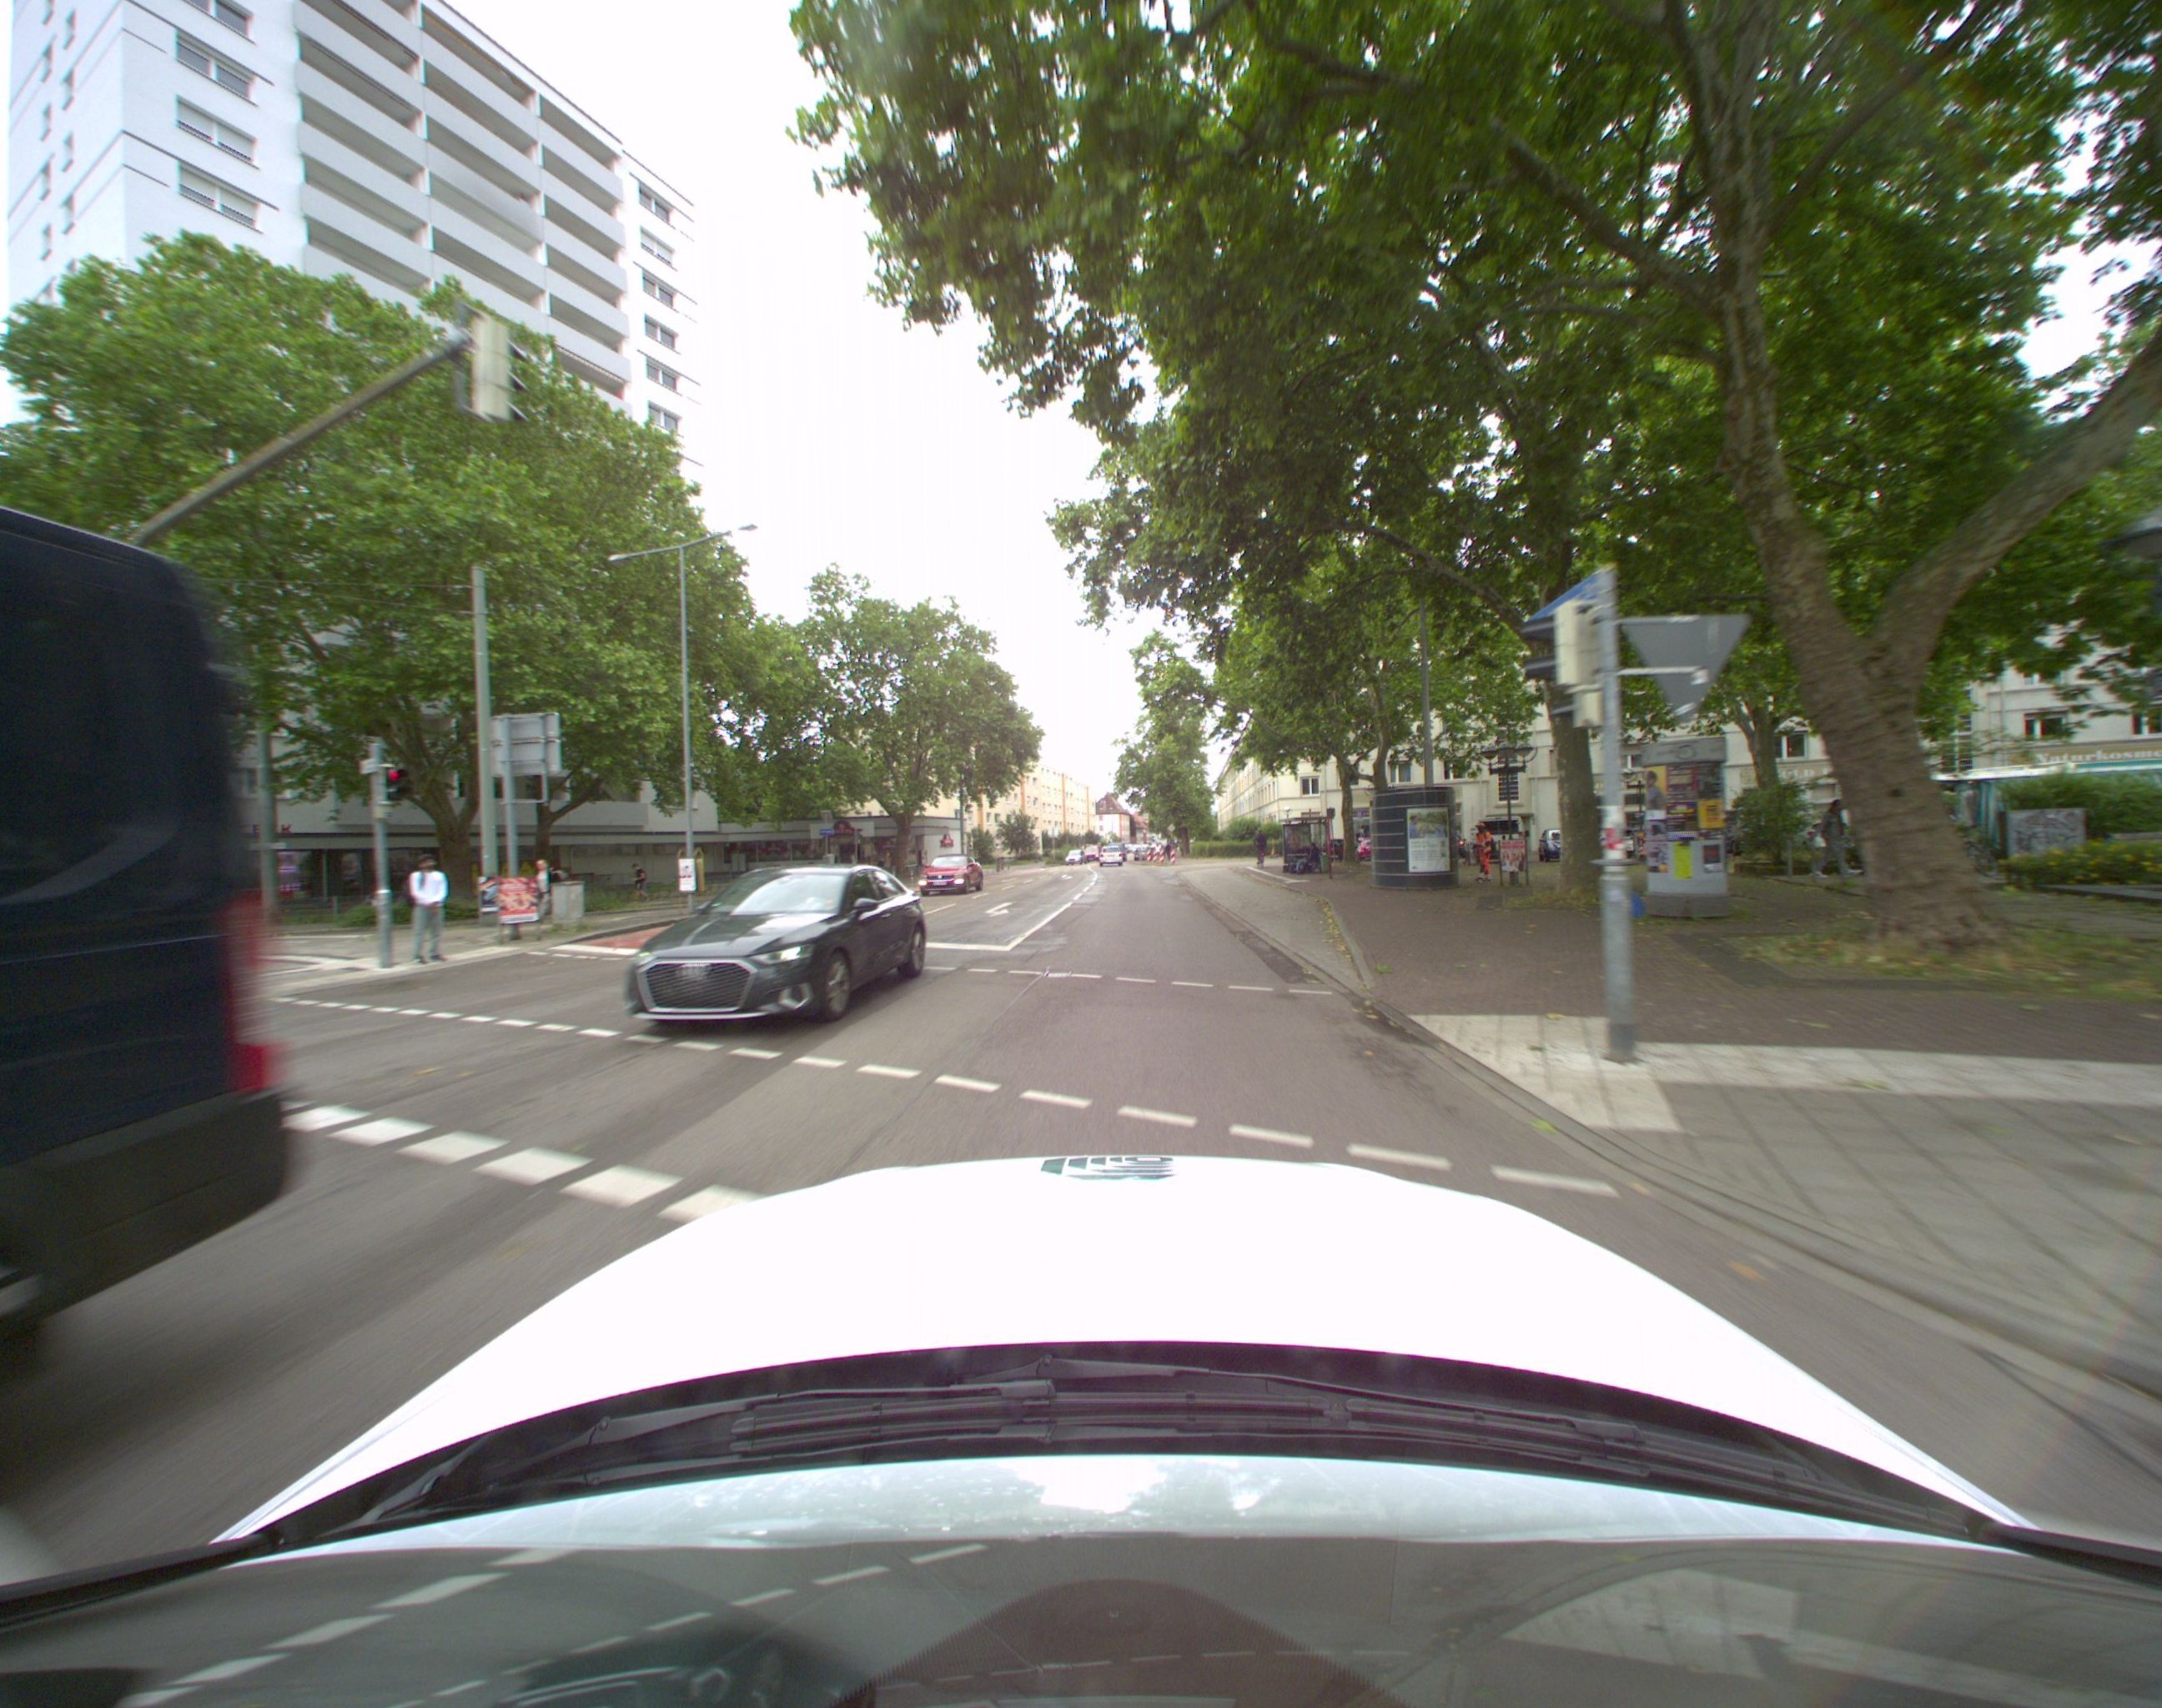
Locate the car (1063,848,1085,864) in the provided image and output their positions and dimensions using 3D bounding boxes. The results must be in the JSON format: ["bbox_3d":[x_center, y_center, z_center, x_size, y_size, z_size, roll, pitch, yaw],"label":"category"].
[{"bbox_3d":[-0.688,0.186,83.005,1.759,1.486,4.005,-2,1,4],"label":"car"}]

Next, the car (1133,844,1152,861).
[{"bbox_3d":[6.331,-0.158,83.726,1.807,1.592,4.005,-2,1,4],"label":"car"}]

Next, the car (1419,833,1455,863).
[{"bbox_3d":[18.334,-0.359,42.085,1.501,1.428,4.022,-2,0,22],"label":"car"}]

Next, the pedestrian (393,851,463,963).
[{"bbox_3d":[-10.784,0.865,13.453,0.696,1.785,0.507,-2,0,10],"label":"pedestrian"}]

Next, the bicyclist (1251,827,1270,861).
[{"bbox_3d":[9.534,-0.544,43.341,0.758,1.758,0.820,-2,0,0],"label":"bicyclist"}]

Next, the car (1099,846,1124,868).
[{"bbox_3d":[2.537,0.233,66.846,1.807,1.592,4.005,-2,1,4],"label":"car"}]

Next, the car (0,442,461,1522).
[{"bbox_3d":[-3.591,0.335,0.333,2.125,2.450,5.583,-2,1,2],"label":"car"}]

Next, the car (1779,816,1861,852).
[{"bbox_3d":[32.130,-0.884,35.518,1.779,1.440,3.851,-2,1,29],"label":"car"}]

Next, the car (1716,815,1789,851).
[{"bbox_3d":[29.404,-0.920,35.778,1.779,1.440,3.851,-2,1,29],"label":"car"}]

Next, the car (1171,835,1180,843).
[{"bbox_3d":[24.767,-3.894,213.214,1.986,2.013,4.003,-2,0,2],"label":"car"}]

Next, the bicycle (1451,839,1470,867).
[{"bbox_3d":[17.241,-0.055,36.984,0.616,1.168,2.347,-2,0,29],"label":"bicycle"}]

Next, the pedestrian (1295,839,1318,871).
[{"bbox_3d":[10.182,0.037,36.793,0.814,1.372,0.763,-2,0,3],"label":"pedestrian"}]

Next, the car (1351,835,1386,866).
[{"bbox_3d":[14.779,-0.209,41.726,1.501,1.428,4.022,-2,0,22],"label":"car"}]

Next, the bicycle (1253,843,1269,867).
[{"bbox_3d":[9.513,0.027,43.074,0.416,1.242,1.927,-2,1,0],"label":"bicycle"}]

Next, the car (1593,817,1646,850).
[{"bbox_3d":[25.643,-1.001,38.879,1.779,1.440,3.851,-2,1,29],"label":"car"}]

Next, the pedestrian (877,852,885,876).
[{"bbox_3d":[-13.900,0.702,56.589,0.516,1.680,0.509,-2,0,-14],"label":"pedestrian"}]

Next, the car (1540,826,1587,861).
[{"bbox_3d":[23.101,-0.548,39.073,1.779,1.543,3.851,-2,1,29],"label":"car"}]

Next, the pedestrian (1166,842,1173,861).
[{"bbox_3d":[7.836,-0.227,72.181,0.548,1.684,0.570,-2,0,2],"label":"pedestrian"}]

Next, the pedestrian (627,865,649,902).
[{"bbox_3d":[-18.955,1.269,34.853,0.416,1.545,0.626,-2,0,27],"label":"pedestrian"}]

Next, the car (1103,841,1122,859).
[{"bbox_3d":[3.416,-0.429,87.628,1.986,1.848,4.003,-2,1,2],"label":"car"}]

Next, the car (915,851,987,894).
[{"bbox_3d":[-4.997,0.681,31.952,1.845,1.452,4.172,-2,1,4],"label":"car"}]

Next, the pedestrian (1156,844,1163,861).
[{"bbox_3d":[6.961,-0.133,72.409,0.513,1.495,0.511,-2,0,2],"label":"pedestrian"}]

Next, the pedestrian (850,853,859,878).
[{"bbox_3d":[-15.691,0.787,56.327,0.510,1.680,0.515,-2,0,-12],"label":"pedestrian"}]

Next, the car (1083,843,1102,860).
[{"bbox_3d":[1.319,-0.306,92.698,1.759,1.911,4.005,-2,1,4],"label":"car"}]

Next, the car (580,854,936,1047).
[{"bbox_3d":[-2.996,0.785,8.719,1.801,1.427,4.321,-2,1,3],"label":"car"}]

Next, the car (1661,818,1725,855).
[{"bbox_3d":[27.552,-0.789,36.783,1.779,1.516,3.851,-2,1,29],"label":"car"}]

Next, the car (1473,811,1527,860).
[{"bbox_3d":[20.568,-0.908,39.934,2.153,2.200,4.025,-2,1,28],"label":"car"}]

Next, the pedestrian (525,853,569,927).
[{"bbox_3d":[-13.132,0.872,20.028,0.570,1.785,0.622,-2,0,12],"label":"pedestrian"}]

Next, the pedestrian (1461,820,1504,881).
[{"bbox_3d":[11.889,-0.106,24.149,0.781,1.743,0.926,-2,0,2],"label":"pedestrian"}]

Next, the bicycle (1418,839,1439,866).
[{"bbox_3d":[15.940,-0.069,37.374,0.616,1.168,2.347,-2,0,29],"label":"bicycle"}]

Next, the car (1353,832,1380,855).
[{"bbox_3d":[18.806,-0.726,53.553,1.501,1.428,4.022,-2,0,22],"label":"car"}]

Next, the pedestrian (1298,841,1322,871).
[{"bbox_3d":[10.095,0.084,35.879,0.849,1.314,0.763,-2,0,3],"label":"pedestrian"}]
